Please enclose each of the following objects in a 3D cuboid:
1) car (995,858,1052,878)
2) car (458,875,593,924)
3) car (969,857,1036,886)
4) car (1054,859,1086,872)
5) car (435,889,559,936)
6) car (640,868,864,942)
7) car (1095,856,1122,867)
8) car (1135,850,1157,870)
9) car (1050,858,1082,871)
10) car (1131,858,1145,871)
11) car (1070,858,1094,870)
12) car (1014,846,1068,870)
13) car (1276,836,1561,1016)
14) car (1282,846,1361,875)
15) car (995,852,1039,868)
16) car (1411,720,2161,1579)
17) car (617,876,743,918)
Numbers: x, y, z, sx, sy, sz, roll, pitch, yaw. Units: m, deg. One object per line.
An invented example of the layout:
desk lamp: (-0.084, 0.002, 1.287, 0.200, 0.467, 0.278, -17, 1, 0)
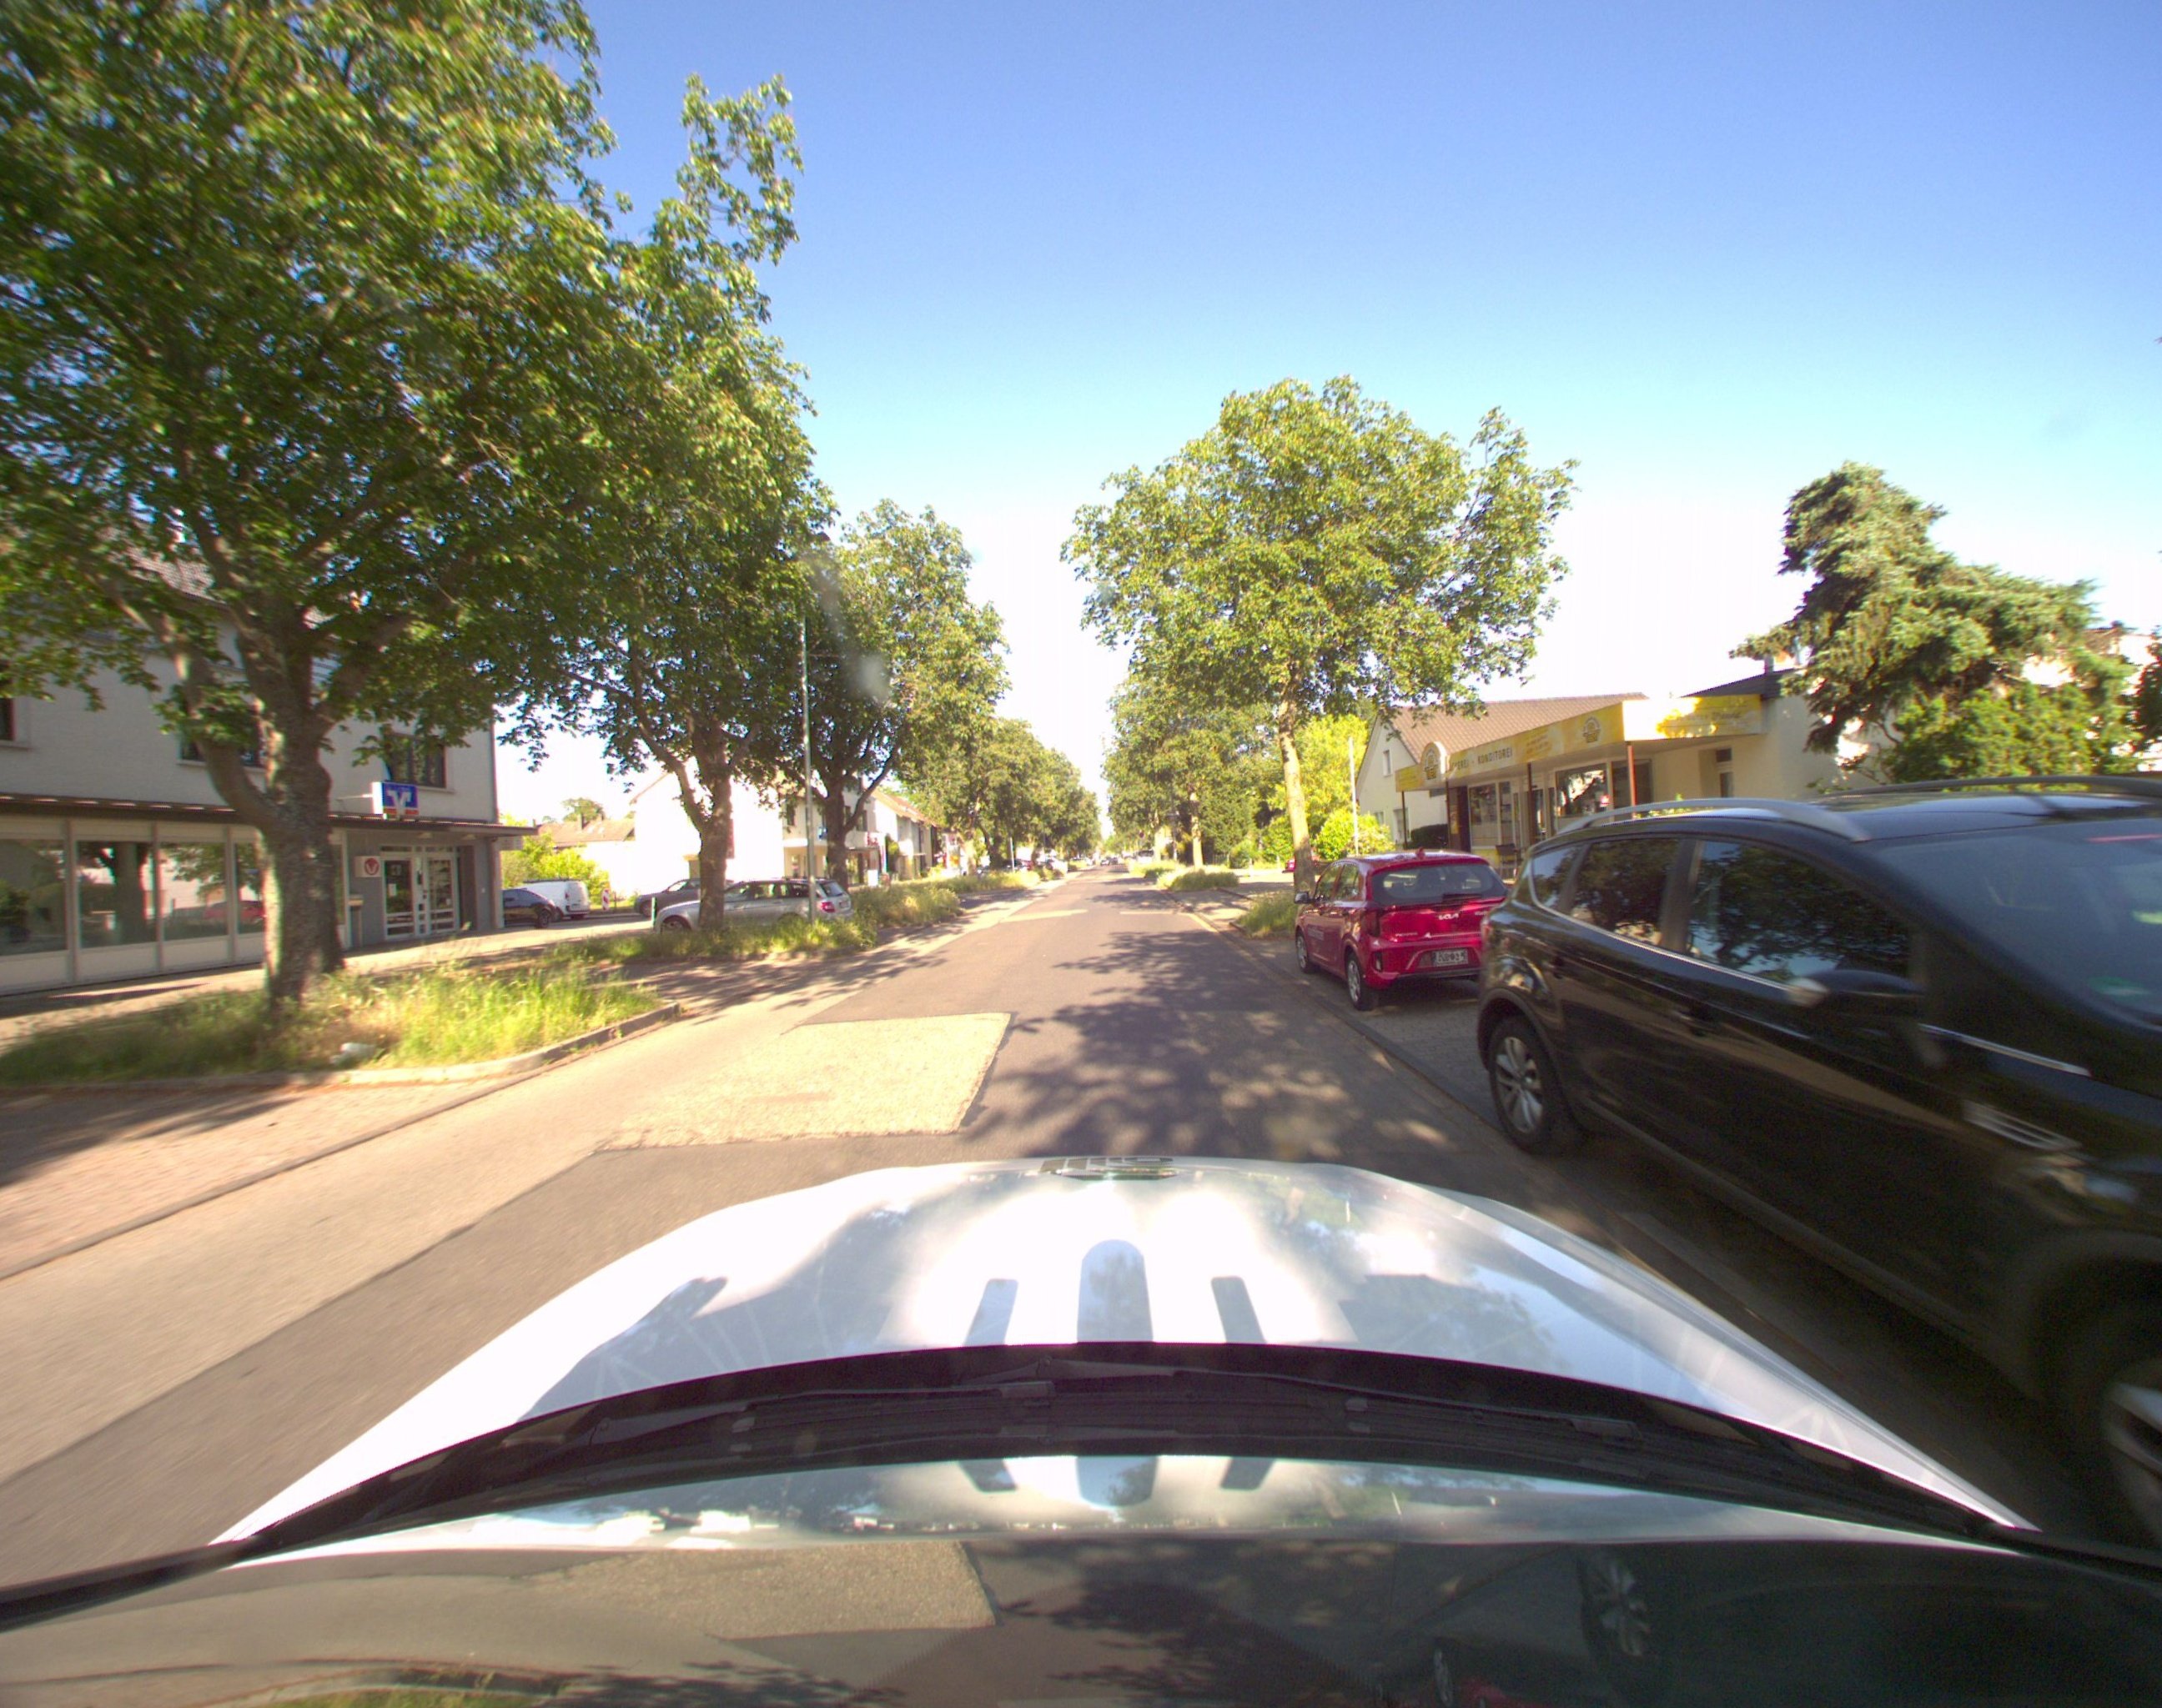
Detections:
car: (-4.422, 1.055, 63.073, 4.277, 1.315, 1.907, -2, 1, -3)
car: (-24.783, 1.994, 36.468, 4.542, 1.927, 1.999, -2, 1, -2)
car: (-5.444, 1.207, 57.077, 4.535, 1.765, 1.998, -2, 1, -3)
car: (-1.278, 1.384, 98.943, 3.683, 1.446, 1.667, -2, -1, 5)
car: (-19.590, 1.920, 27.507, 1.535, 1.237, 3.512, -1, 1, 1)
car: (-7.770, 1.183, 19.533, 4.537, 1.511, 1.842, -1, 1, 2)
car: (4.389, 1.190, 128.764, 4.023, 1.644, 1.975, -3, 2, -44)
car: (6.019, 0.546, 75.480, 1.895, 1.774, 4.304, -1, -1, 3)
car: (-1.856, 1.289, 101.621, 3.683, 1.446, 1.667, -2, -1, 5)
car: (7.973, 1.447, 113.772, 1.895, 1.774, 4.304, -1, -1, 3)
car: (0.173, 1.774, 147.836, 3.966, 2.013, 2.004, -1, 1, 6)
car: (-4.137, 0.404, 84.893, 5.480, 2.247, 2.517, -2, 1, 0)
car: (3.484, 0.666, 9.236, 1.690, 1.479, 3.891, -5, -1, 3)
car: (14.647, 0.373, 49.857, 4.269, 1.609, 2.002, -1, 1, 2)
car: (-5.915, 0.564, 75.581, 3.857, 1.479, 1.896, -1, -1, 4)
car: (2.970, 0.521, 2.856, 1.846, 1.625, 4.471, -4, -1, 2)
car: (-17.853, 1.894, 36.391, 4.542, 1.618, 1.999, -2, 1, -2)
